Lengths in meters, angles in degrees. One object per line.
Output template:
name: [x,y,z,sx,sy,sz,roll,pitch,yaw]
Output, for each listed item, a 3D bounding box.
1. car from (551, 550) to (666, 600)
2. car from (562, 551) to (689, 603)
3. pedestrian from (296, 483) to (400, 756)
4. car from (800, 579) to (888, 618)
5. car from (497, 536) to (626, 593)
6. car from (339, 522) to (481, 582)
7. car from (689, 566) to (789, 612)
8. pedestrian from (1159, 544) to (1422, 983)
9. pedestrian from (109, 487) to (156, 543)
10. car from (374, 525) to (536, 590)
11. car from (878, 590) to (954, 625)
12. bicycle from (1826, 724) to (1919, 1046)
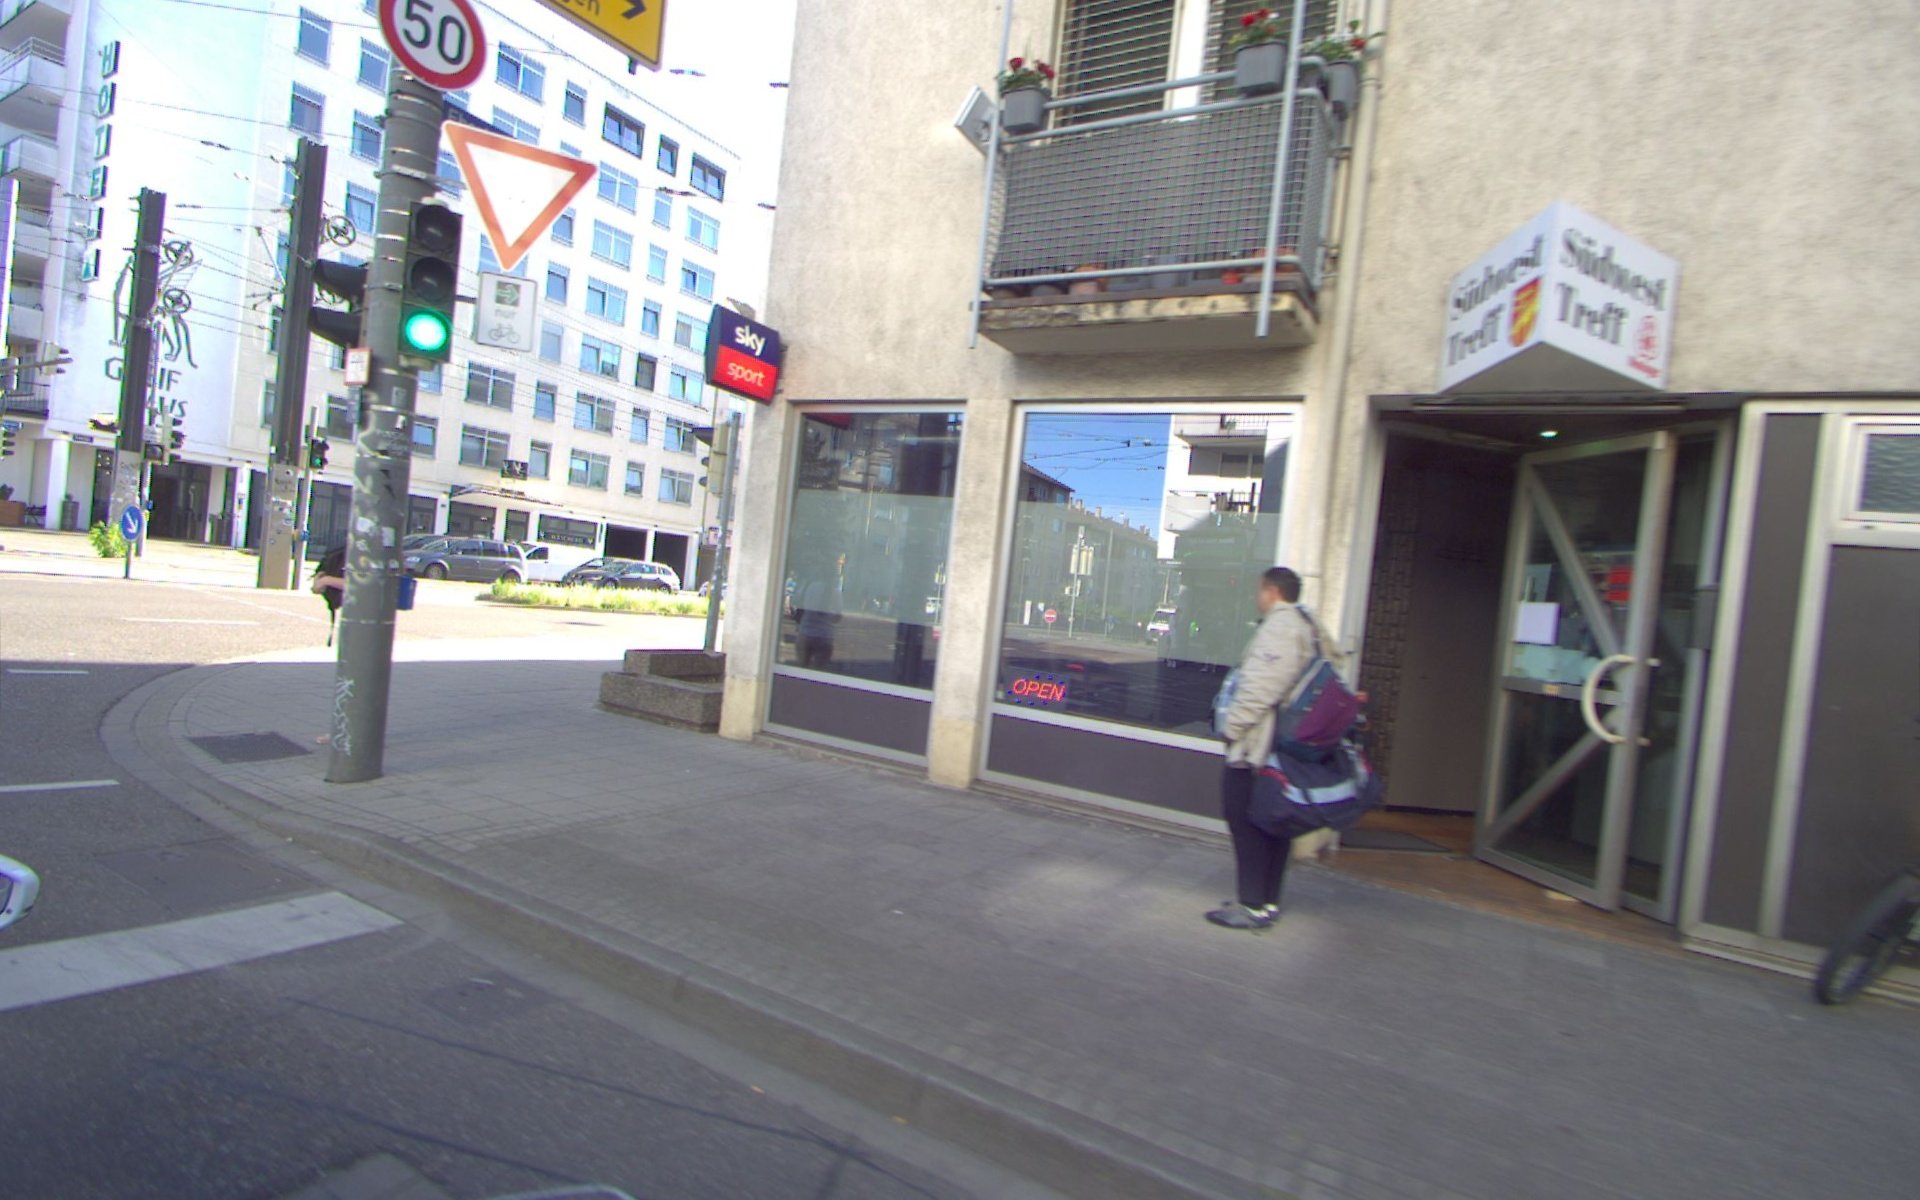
car: [-15.066,-1.056,43.376,1.956,1.594,4.314,6,-1,32]
car: [-13.235,-0.884,40.019,1.795,1.509,4.529,6,-1,35]
pedestrian: [-3.966,0.109,6.502,0.535,1.646,0.726,0,4,-34]
car: [-5.824,-0.043,51.040,1.840,1.596,4.619,5,-1,32]
car: [-18.528,-1.609,46.995,1.916,1.892,5.313,10,2,33]
car: [-19.669,-1.680,36.118,1.765,1.594,4.038,6,-1,32]
car: [-9.830,-0.459,45.030,1.814,1.533,4.236,6,-1,31]
pedestrian: [1.461,0.625,4.380,0.796,1.614,0.885,8,4,26]
pedestrian: [-28.831,-2.959,35.052,0.725,1.766,0.908,7,-1,31]
car: [-16.919,-1.392,33.914,1.906,1.567,4.441,6,-1,35]
car: [-2.441,0.463,57.000,1.937,1.498,4.560,6,-1,31]
bicycle: [4.386,1.173,3.632,1.748,1.176,0.497,6,0,32]
